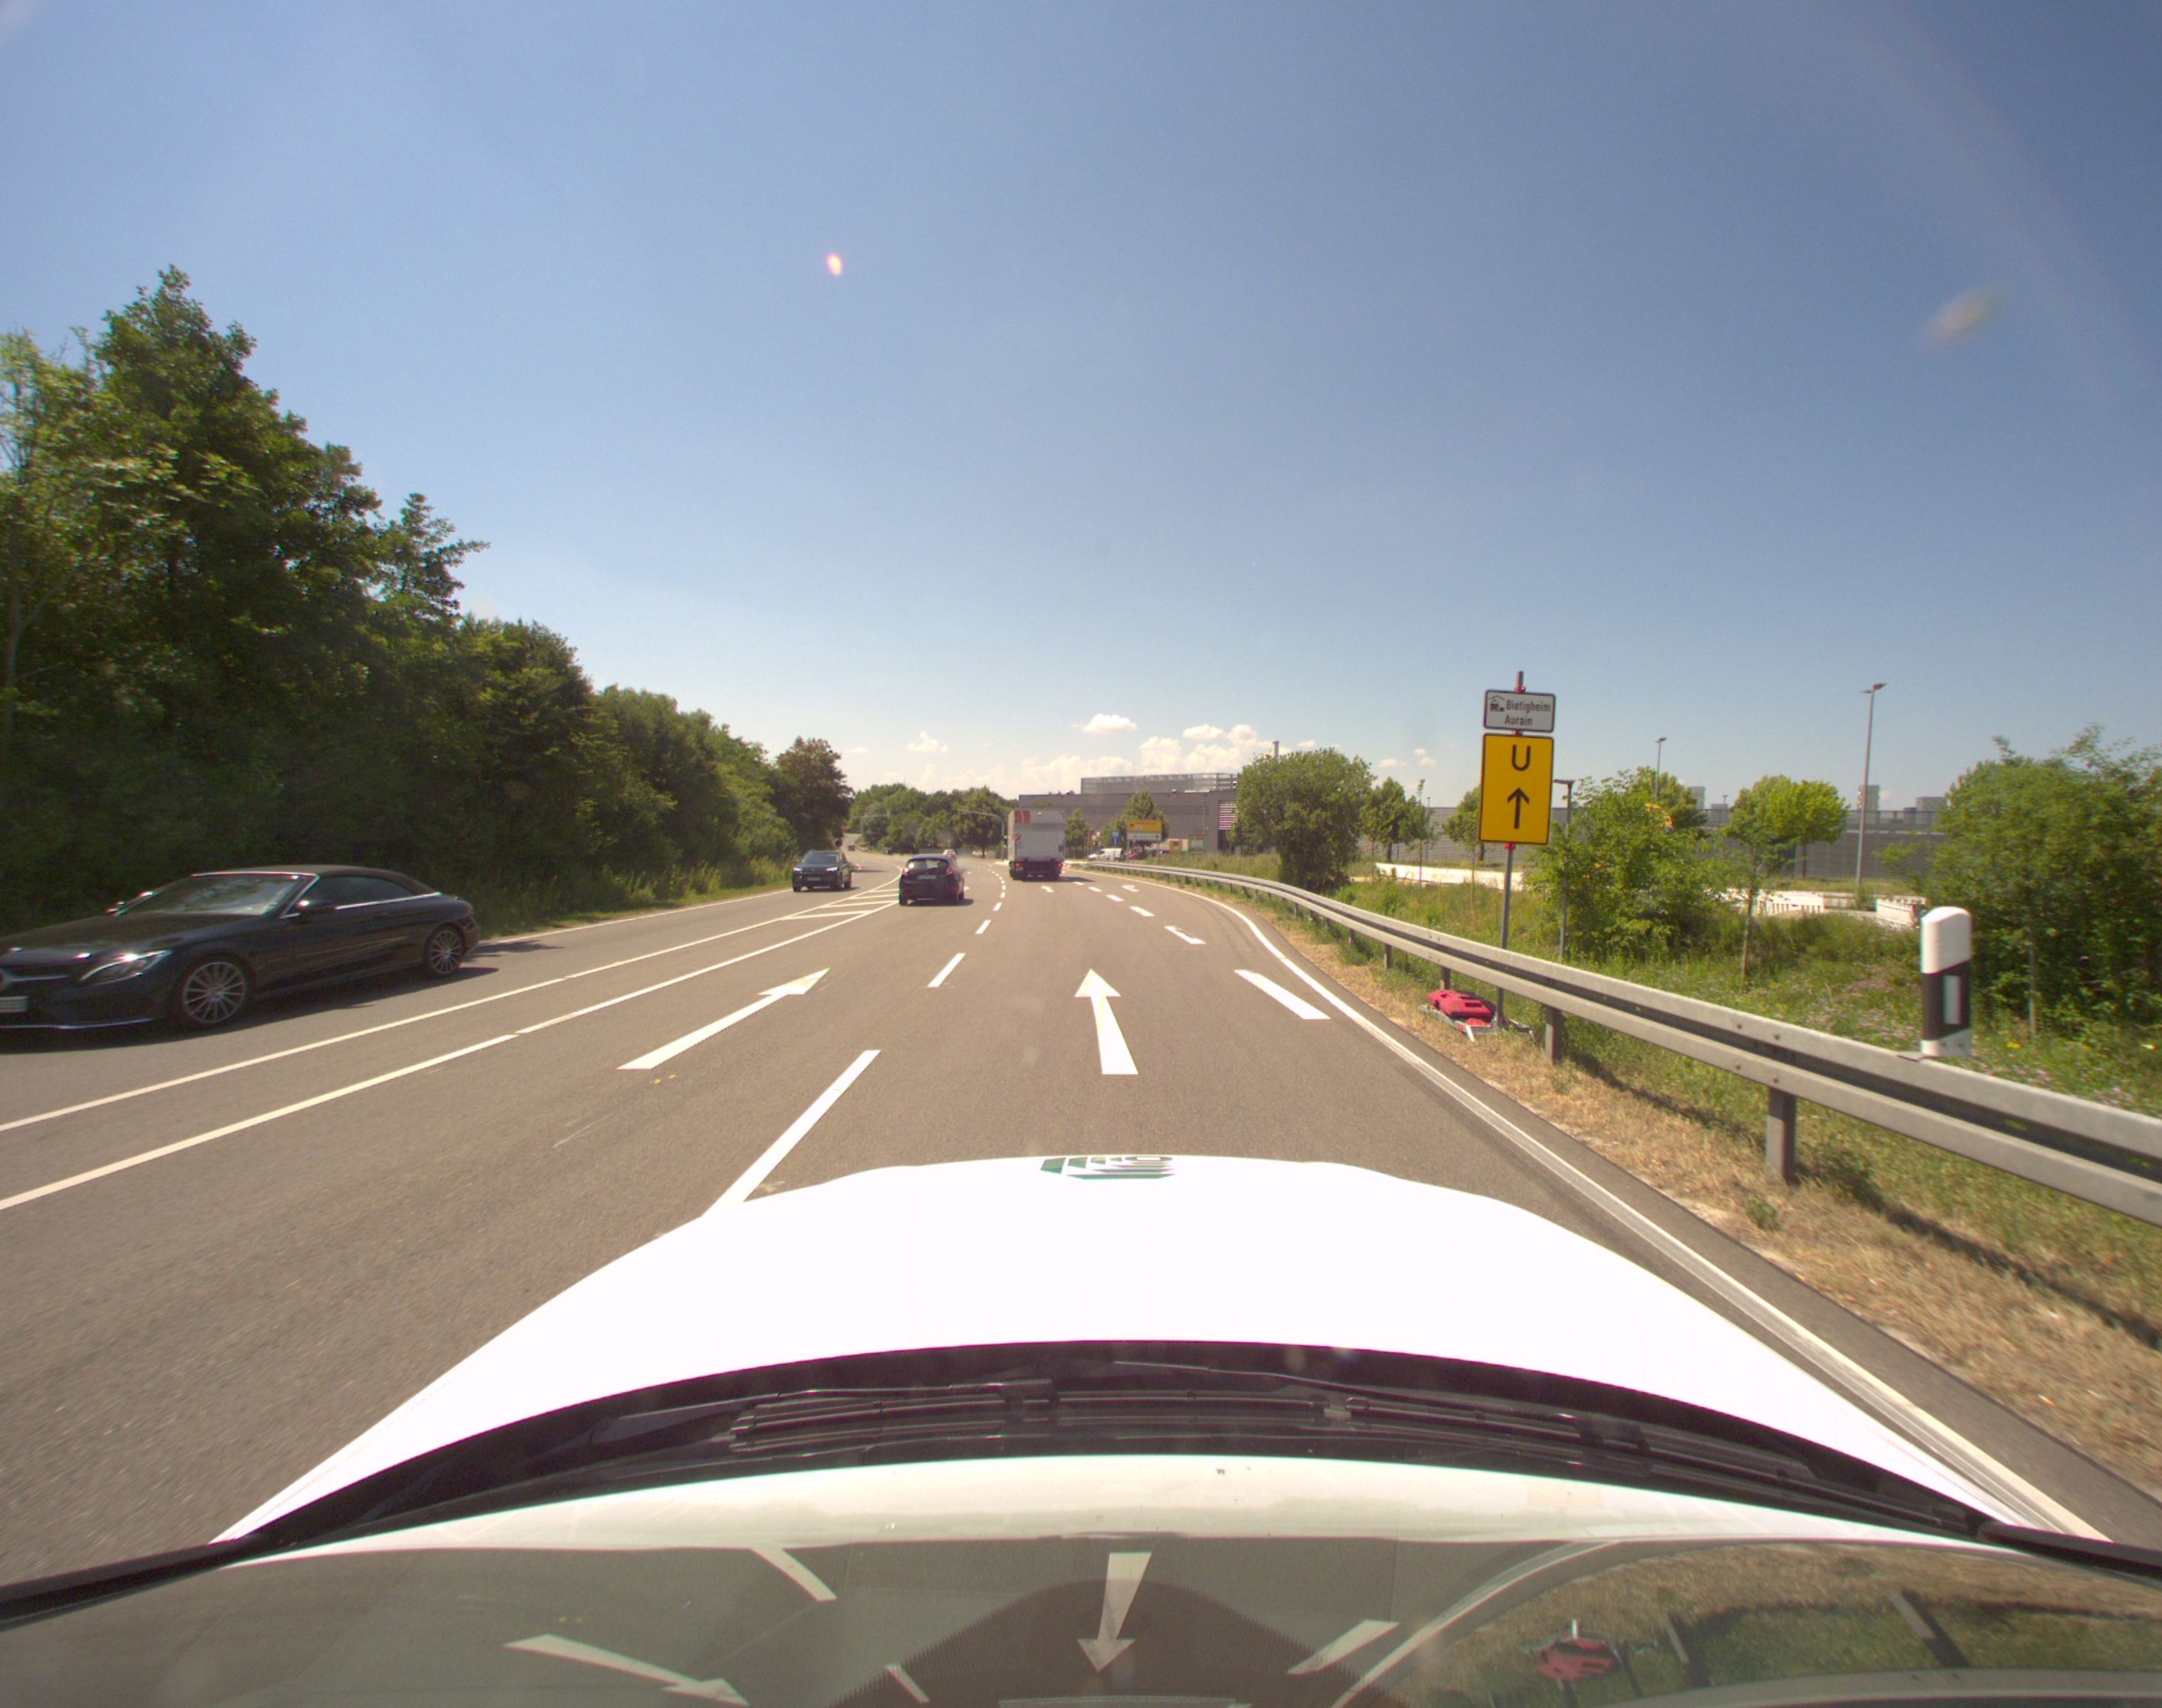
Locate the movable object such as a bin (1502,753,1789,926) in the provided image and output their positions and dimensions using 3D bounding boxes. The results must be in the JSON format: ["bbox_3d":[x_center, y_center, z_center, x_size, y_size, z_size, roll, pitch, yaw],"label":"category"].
[{"bbox_3d":[19.894,-0.651,29.865,3.418,5.259,9.216,2,3,-5],"label":"movable object such as a bin"}]

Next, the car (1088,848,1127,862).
[{"bbox_3d":[3.474,0.129,107.179,4.712,1.932,2.161,0,0,13],"label":"car"}]

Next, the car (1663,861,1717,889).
[{"bbox_3d":[42.410,1.420,56.814,2.076,1.816,5.375,1,0,27],"label":"car"}]

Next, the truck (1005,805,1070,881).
[{"bbox_3d":[-2.540,-0.623,44.437,2.801,3.710,9.084,0,1,-8],"label":"truck"}]

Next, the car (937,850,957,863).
[{"bbox_3d":[-19.154,0.281,116.200,1.951,1.664,3.972,3,0,-21],"label":"car"}]

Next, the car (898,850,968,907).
[{"bbox_3d":[-4.400,0.669,24.730,1.650,1.493,4.201,1,2,-5],"label":"car"}]

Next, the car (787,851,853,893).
[{"bbox_3d":[-10.692,0.669,33.687,1.994,1.593,4.666,0,0,-10],"label":"car"}]

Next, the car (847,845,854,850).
[{"bbox_3d":[-66.967,-1.874,236.686,1.997,1.684,3.980,0,0,-14],"label":"car"}]

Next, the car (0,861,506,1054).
[{"bbox_3d":[-8.574,0.832,8.666,1.813,1.442,4.638,0,0,-3],"label":"car"}]
